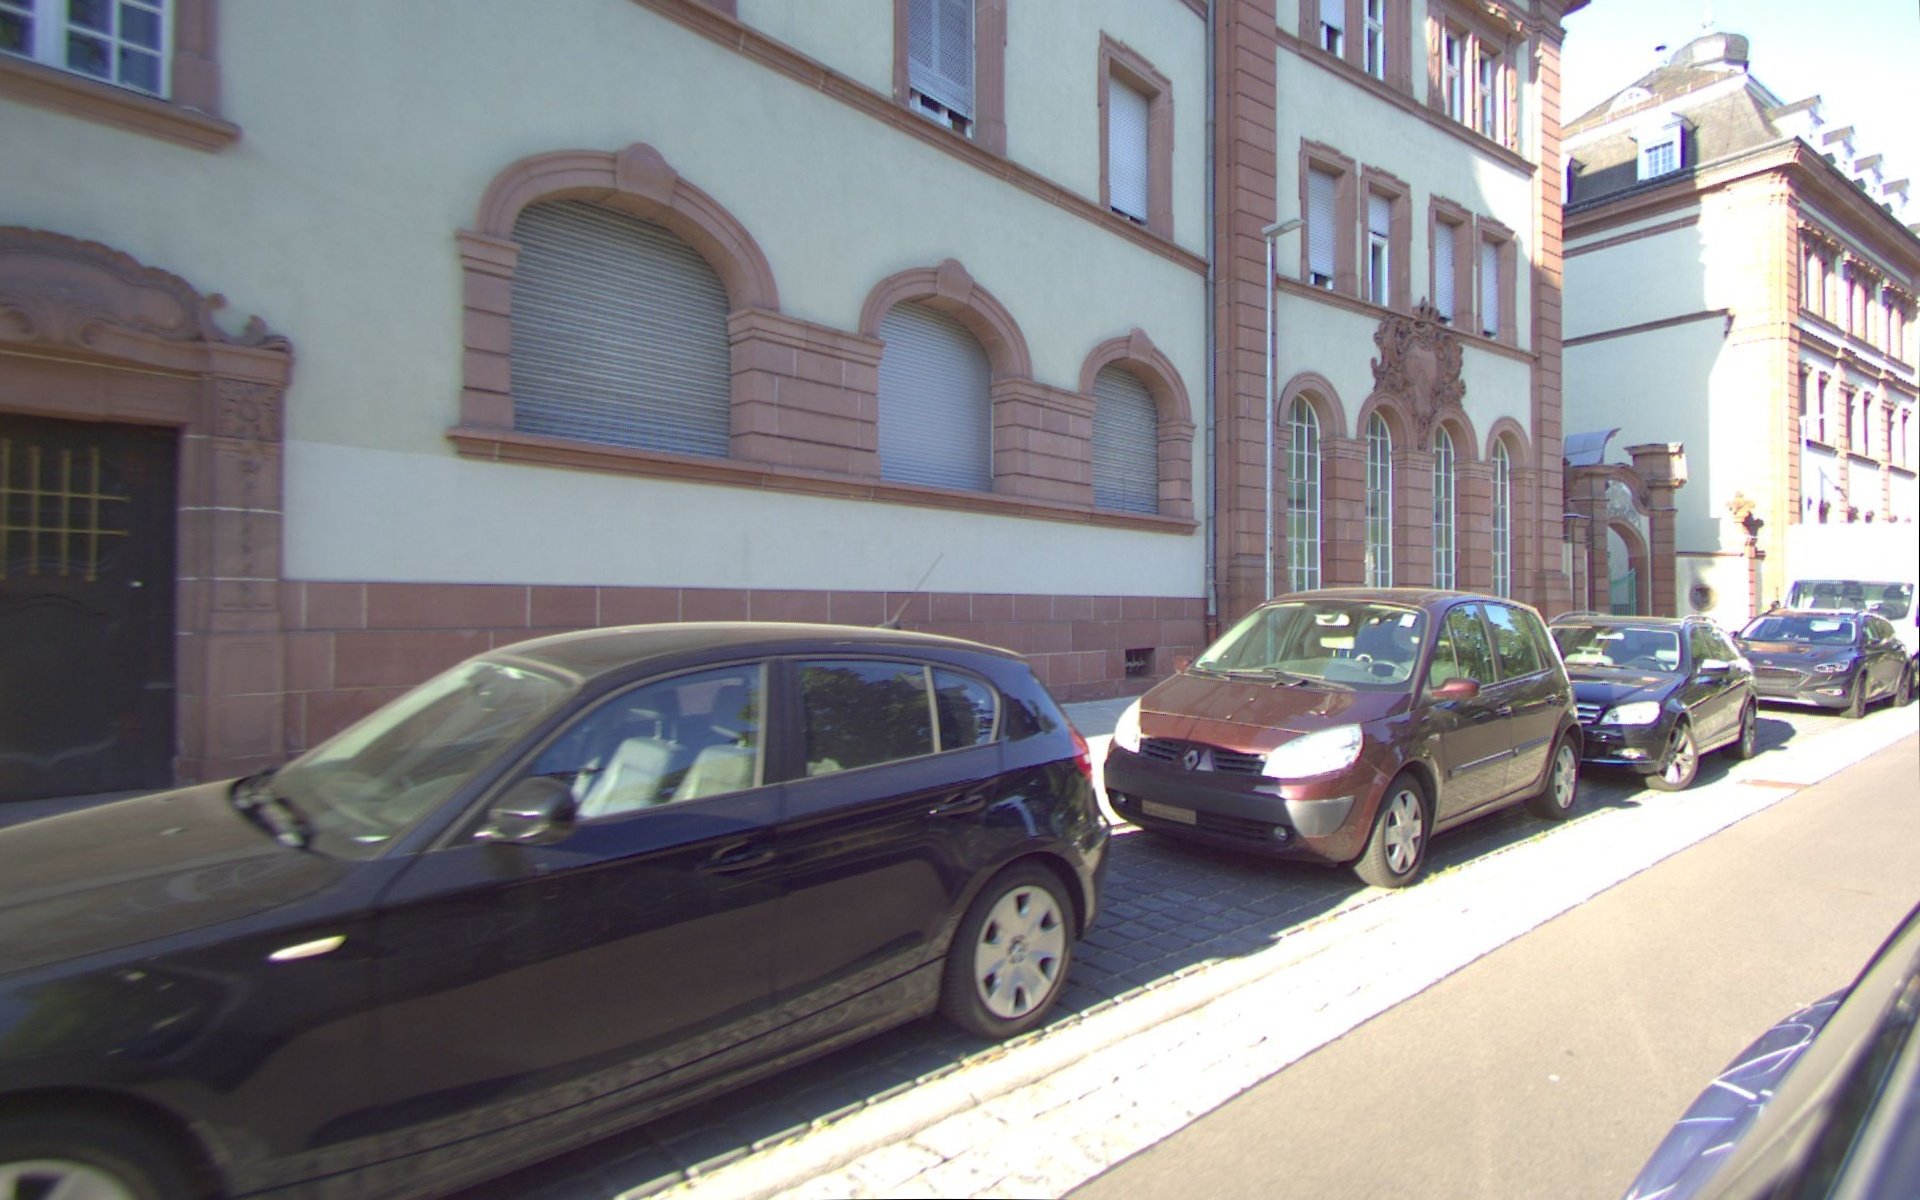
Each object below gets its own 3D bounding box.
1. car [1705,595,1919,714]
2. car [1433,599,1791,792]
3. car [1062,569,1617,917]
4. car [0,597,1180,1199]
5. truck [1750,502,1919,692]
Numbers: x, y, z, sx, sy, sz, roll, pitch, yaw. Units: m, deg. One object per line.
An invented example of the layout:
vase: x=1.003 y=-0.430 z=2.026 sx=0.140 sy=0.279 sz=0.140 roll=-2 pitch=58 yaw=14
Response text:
car: x=13.410 y=0.735 z=15.676 sx=4.487 sy=1.549 sz=1.774 roll=0 pitch=1 yaw=-37
car: x=6.643 y=0.752 z=10.103 sx=4.444 sy=1.454 sz=1.875 roll=0 pitch=1 yaw=-42
car: x=2.748 y=0.652 z=6.804 sx=4.121 sy=1.622 sz=1.818 roll=0 pitch=1 yaw=-43
car: x=-1.251 y=0.730 z=3.255 sx=4.126 sy=1.420 sz=1.682 roll=0 pitch=1 yaw=-41
truck: x=17.751 y=-0.070 z=19.531 sx=5.977 sy=3.159 sz=2.630 roll=0 pitch=1 yaw=-39
